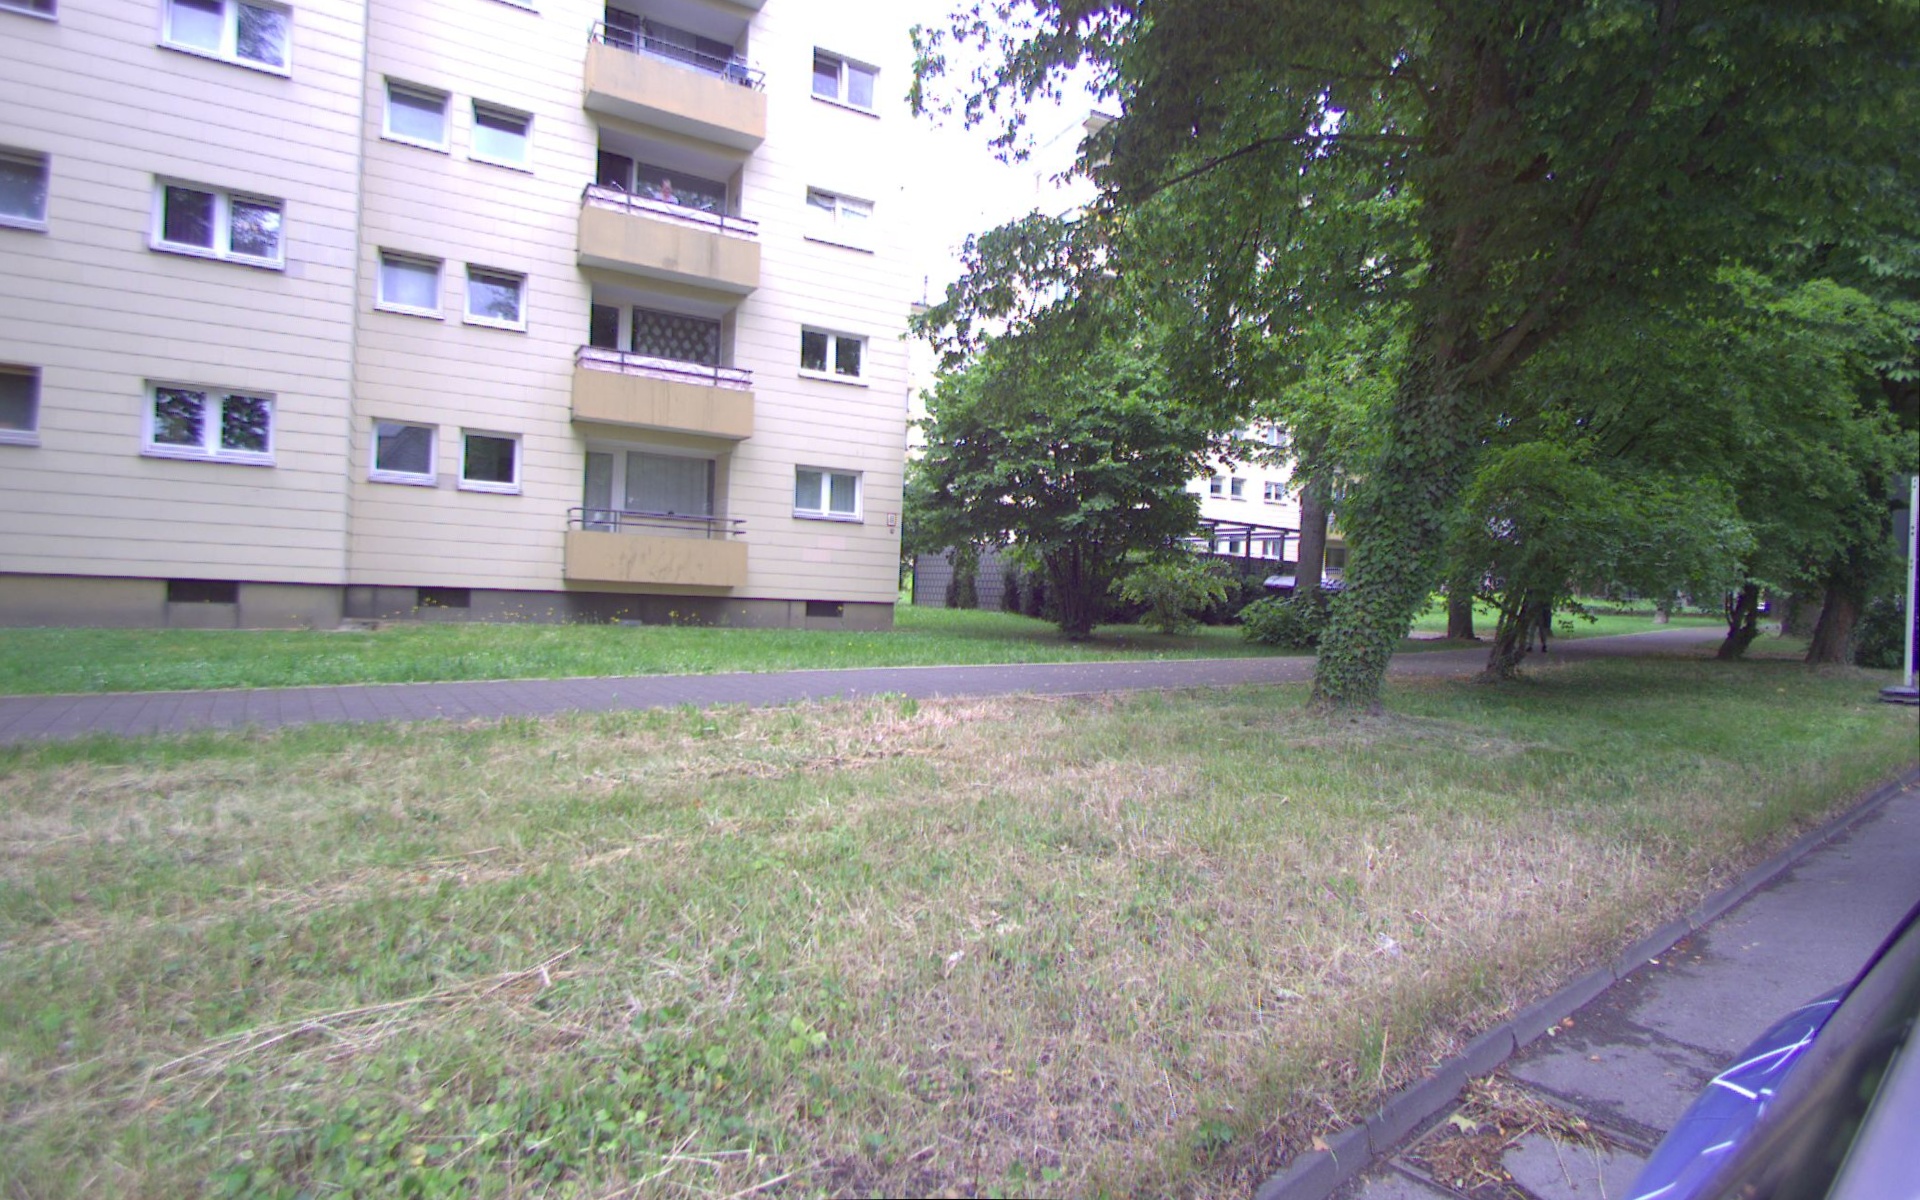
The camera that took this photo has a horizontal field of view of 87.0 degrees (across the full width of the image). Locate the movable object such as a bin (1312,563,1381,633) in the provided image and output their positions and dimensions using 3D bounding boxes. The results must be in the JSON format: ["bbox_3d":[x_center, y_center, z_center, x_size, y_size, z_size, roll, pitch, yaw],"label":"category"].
[{"bbox_3d":[9.757,-0.078,25.559,1.004,1.662,1.275,-1,4,-45],"label":"movable object such as a bin"}]

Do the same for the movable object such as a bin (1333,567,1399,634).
[{"bbox_3d":[10.656,-0.001,26.572,1.058,1.662,1.238,-1,4,-45],"label":"movable object such as a bin"}]

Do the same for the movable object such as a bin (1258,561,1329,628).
[{"bbox_3d":[8.787,-0.177,26.673,1.004,1.662,1.432,-1,4,-45],"label":"movable object such as a bin"}]

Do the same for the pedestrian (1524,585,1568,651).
[{"bbox_3d":[12.848,0.382,22.174,0.687,1.398,0.596,2,2,43],"label":"pedestrian"}]

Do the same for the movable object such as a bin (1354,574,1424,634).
[{"bbox_3d":[11.568,0.080,27.310,1.182,1.492,1.326,-1,4,-45],"label":"movable object such as a bin"}]
